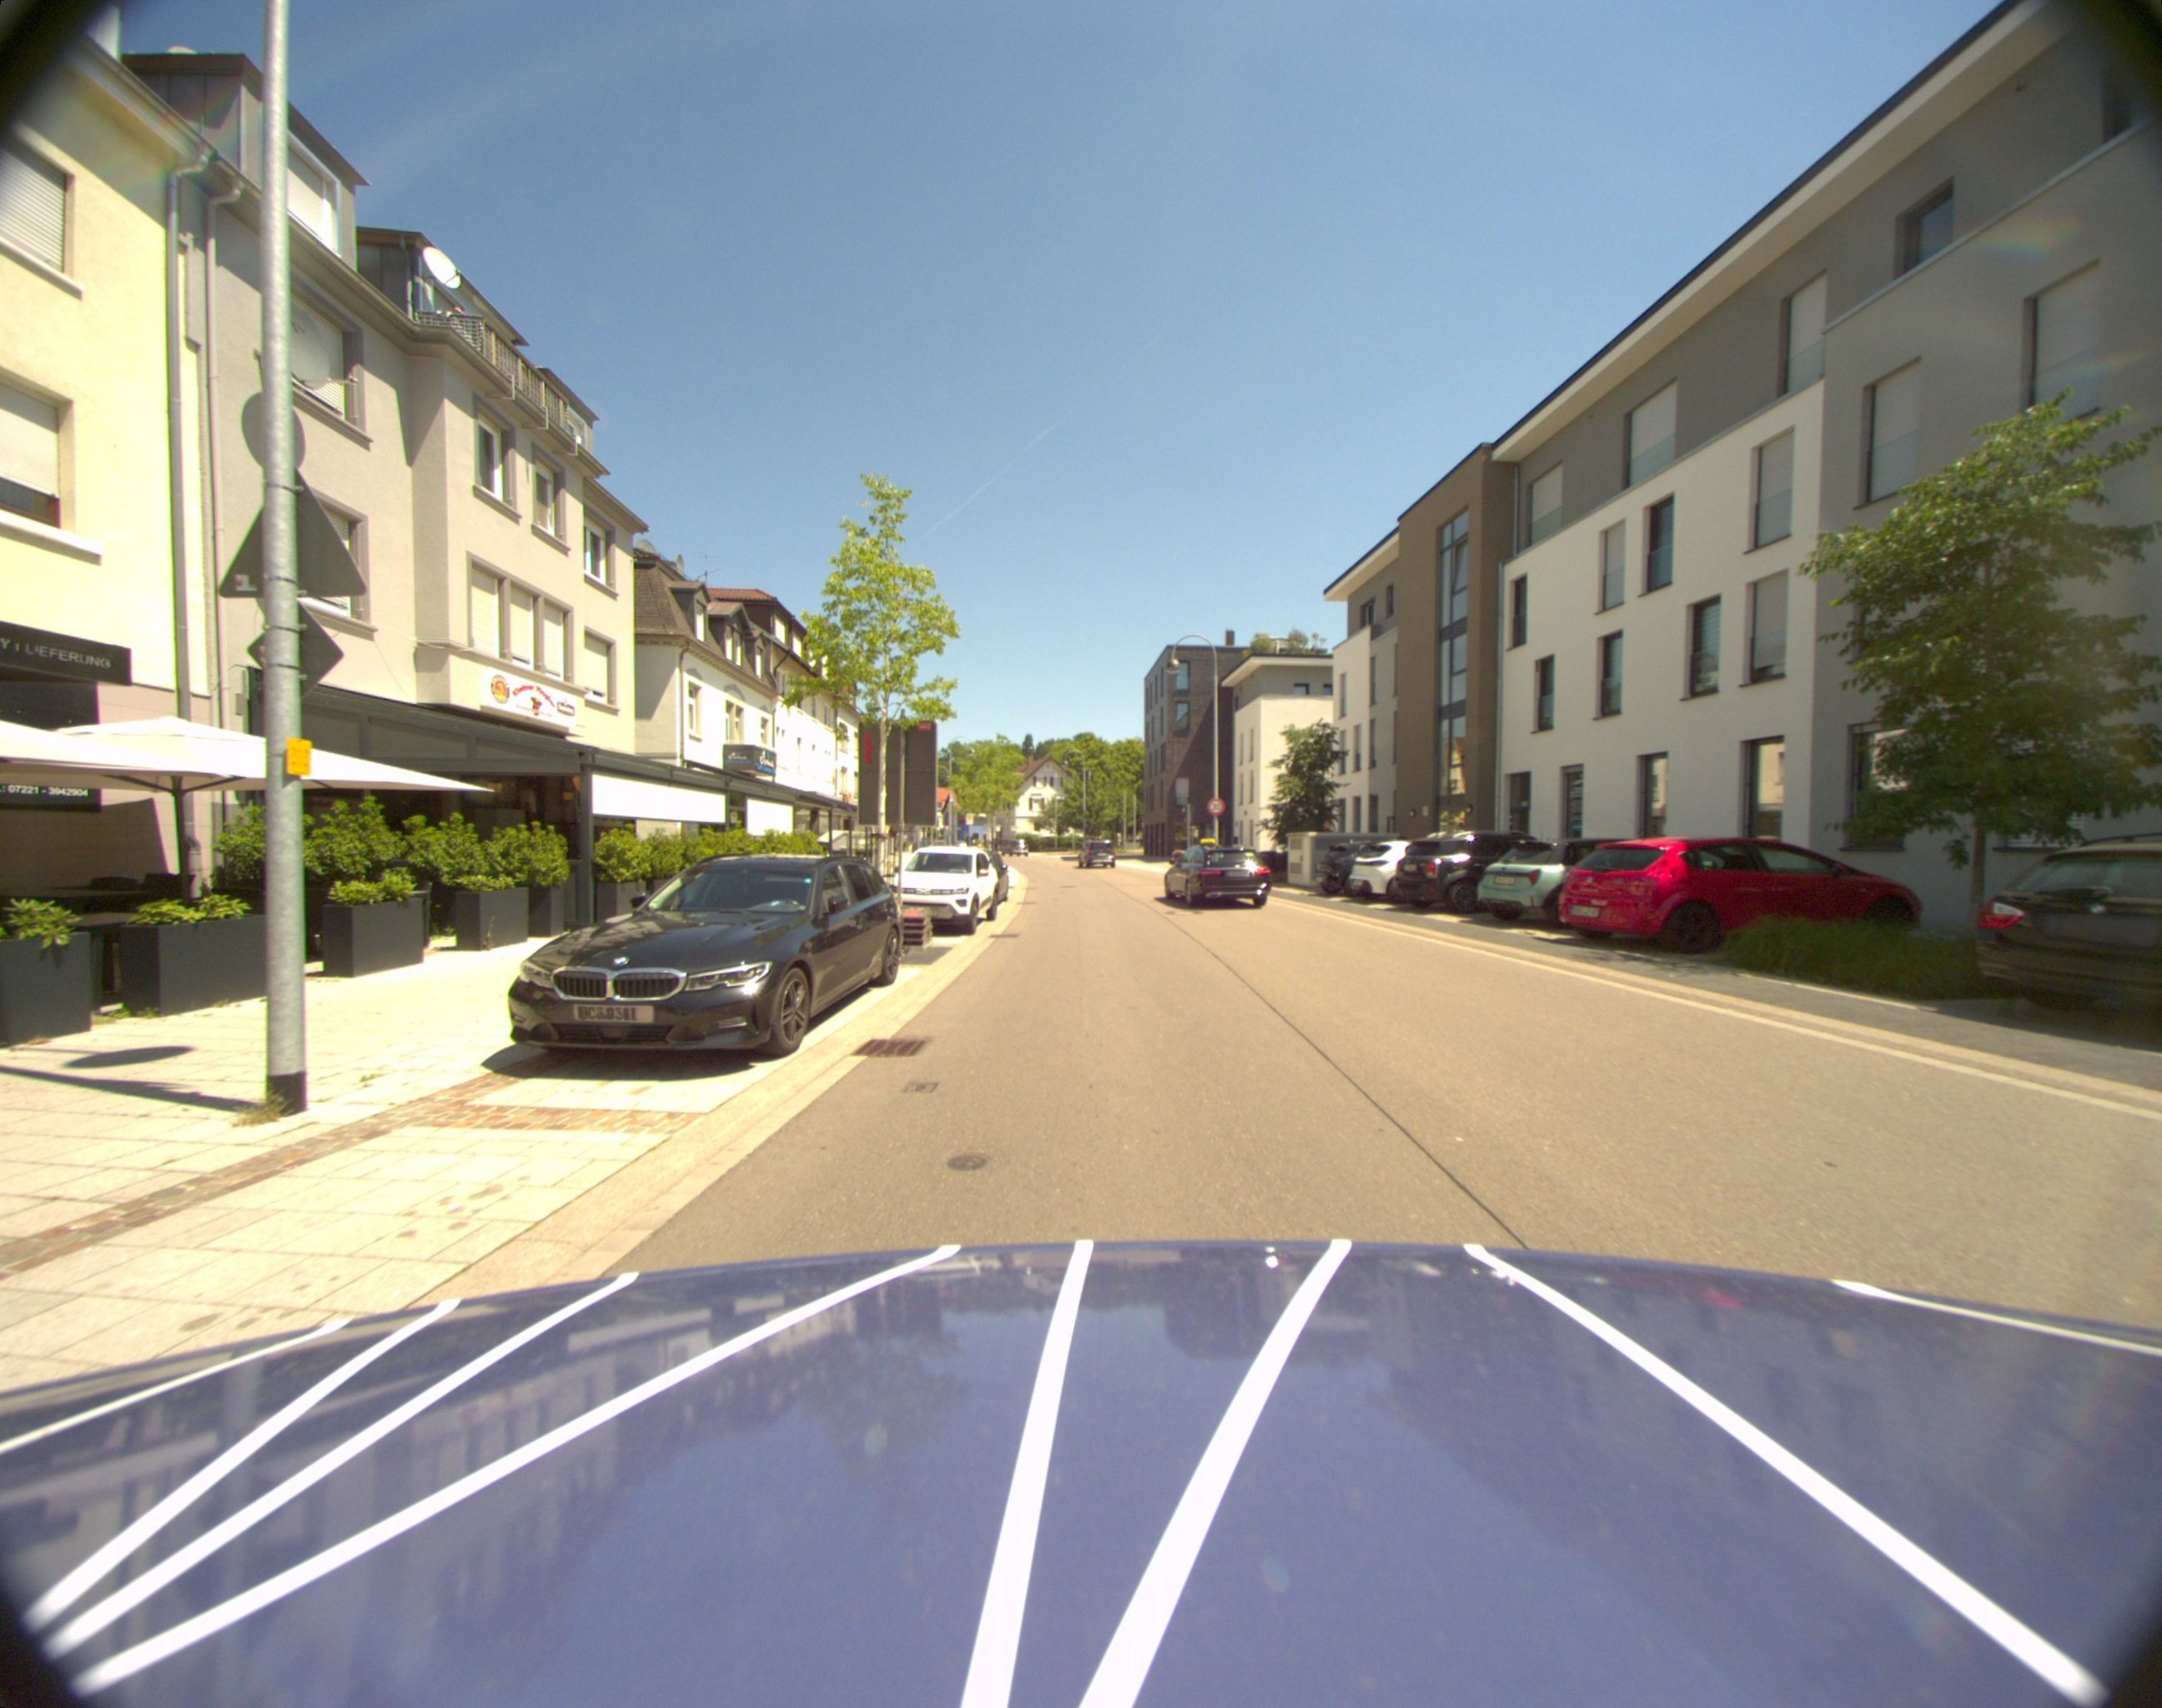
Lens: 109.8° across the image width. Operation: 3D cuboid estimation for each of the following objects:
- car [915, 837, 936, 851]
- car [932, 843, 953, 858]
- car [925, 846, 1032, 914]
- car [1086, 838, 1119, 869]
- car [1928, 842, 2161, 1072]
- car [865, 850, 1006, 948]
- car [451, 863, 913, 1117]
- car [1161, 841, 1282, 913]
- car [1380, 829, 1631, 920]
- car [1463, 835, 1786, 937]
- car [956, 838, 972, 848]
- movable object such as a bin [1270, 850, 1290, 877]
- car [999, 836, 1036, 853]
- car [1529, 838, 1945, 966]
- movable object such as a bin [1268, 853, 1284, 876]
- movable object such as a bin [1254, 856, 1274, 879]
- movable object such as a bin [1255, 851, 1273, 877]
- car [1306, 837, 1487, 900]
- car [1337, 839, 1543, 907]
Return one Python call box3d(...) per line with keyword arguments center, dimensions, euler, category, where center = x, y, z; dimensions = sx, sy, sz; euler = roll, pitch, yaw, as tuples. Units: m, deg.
box3d(center=(-18.574, -1.195, 90.654), dimensions=(1.738, 1.464, 4.314), euler=(2, 1, -23), category="car")
box3d(center=(-14.303, -0.352, 78.322), dimensions=(1.685, 1.505, 3.381), euler=(-2, 1, -16), category="car")
box3d(center=(-2.601, 0.608, 20.275), dimensions=(1.836, 1.474, 4.096), euler=(2, 2, 7), category="car")
box3d(center=(1.277, -0.073, 46.427), dimensions=(1.815, 1.692, 4.074), euler=(-2, 2, -1), category="car")
box3d(center=(9.103, 0.643, 5.520), dimensions=(4.213, 1.429, 1.884), euler=(-2, 2, -7), category="car")
box3d(center=(-2.617, 0.727, 14.580), dimensions=(1.741, 1.477, 4.053), euler=(2, 2, 2), category="car")
box3d(center=(-2.944, 0.858, 6.929), dimensions=(1.728, 1.397, 4.608), euler=(1, 1, 1), category="car")
box3d(center=(3.373, 0.494, 19.201), dimensions=(1.899, 1.545, 4.796), euler=(-1, 1, -3), category="car")
box3d(center=(8.551, 0.363, 15.583), dimensions=(4.043, 1.642, 1.999), euler=(-2, 2, -1), category="car")
box3d(center=(8.973, 0.474, 12.830), dimensions=(4.043, 1.488, 1.999), euler=(-2, 2, -1), category="car")
box3d(center=(-15.426, -1.435, 99.989), dimensions=(1.673, 1.388, 3.842), euler=(1, 0, -13), category="car")
box3d(center=(7.863, 0.383, 30.034), dimensions=(0.556, 1.033, 0.544), euler=(-1, 2, -21), category="movable object such as a bin")
box3d(center=(-6.253, -0.943, 74.289), dimensions=(1.951, 1.649, 4.225), euler=(-2, 2, -29), category="car")
box3d(center=(8.640, 0.554, 10.269), dimensions=(4.044, 1.422, 1.998), euler=(-2, 2, -5), category="car")
box3d(center=(8.568, 0.443, 33.380), dimensions=(0.484, 0.992, 0.587), euler=(-1, 2, -11), category="movable object such as a bin")
box3d(center=(7.104, 0.511, 29.489), dimensions=(0.556, 0.863, 0.481), euler=(-1, 2, -21), category="movable object such as a bin")
box3d(center=(7.414, 0.411, 30.741), dimensions=(0.556, 1.014, 0.560), euler=(-1, 2, -8), category="movable object such as a bin")
box3d(center=(8.333, 0.370, 20.337), dimensions=(3.998, 1.506, 2.000), euler=(-2, 0, -2), category="car")
box3d(center=(8.458, 0.413, 18.140), dimensions=(3.998, 1.413, 1.909), euler=(-2, 2, -3), category="car")
